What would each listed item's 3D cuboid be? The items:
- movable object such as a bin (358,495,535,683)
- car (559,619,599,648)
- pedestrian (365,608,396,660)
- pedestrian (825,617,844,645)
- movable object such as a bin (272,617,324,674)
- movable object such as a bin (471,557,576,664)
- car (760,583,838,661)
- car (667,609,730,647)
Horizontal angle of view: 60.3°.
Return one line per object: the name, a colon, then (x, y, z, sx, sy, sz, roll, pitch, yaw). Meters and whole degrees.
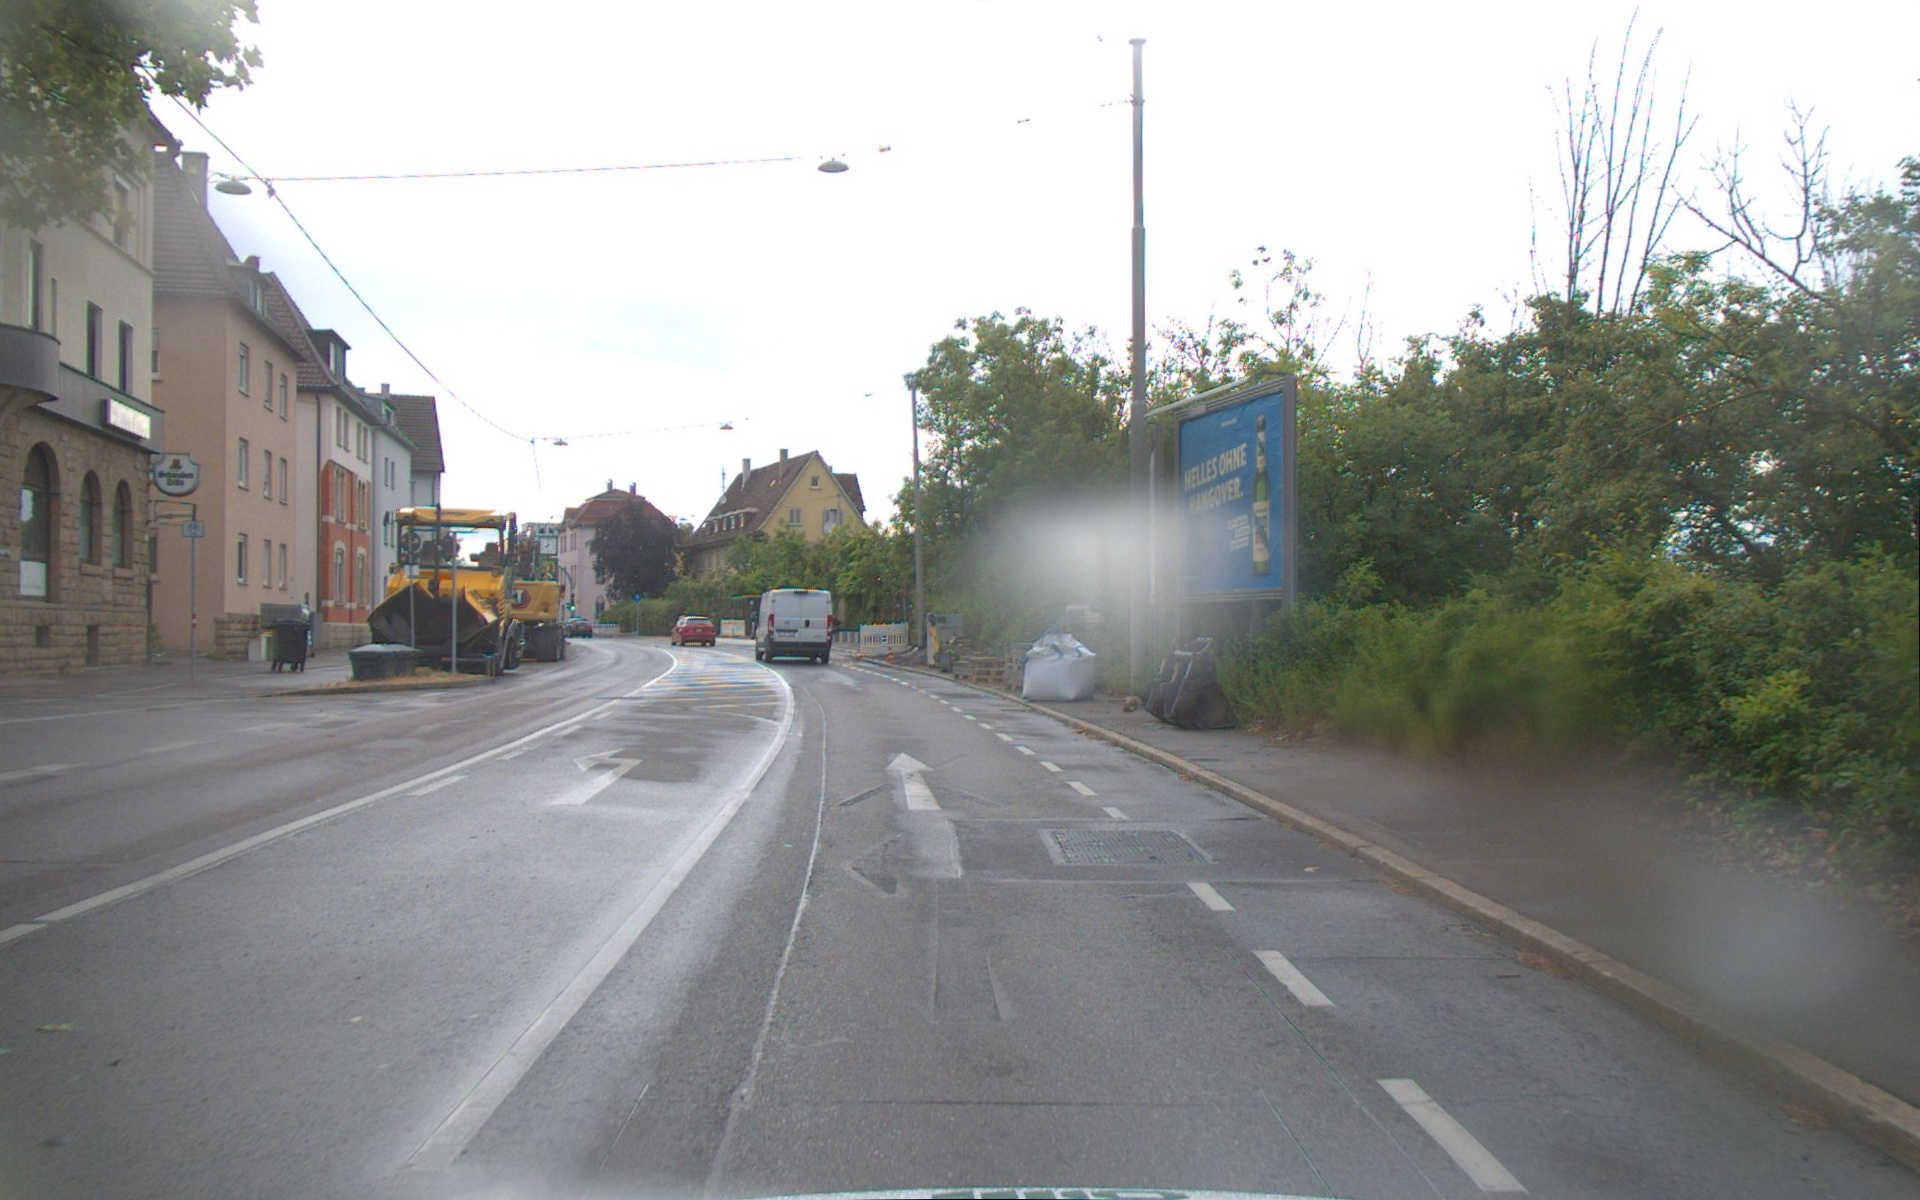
movable object such as a bin: (-11.654, -0.284, 38.070, 2.721, 3.923, 5.980, 1, 1, -6)
car: (-28.091, 2.456, 121.851, 2.206, 1.836, 4.684, 1, 1, -21)
pedestrian: (-18.796, 1.101, 53.673, 0.750, 1.616, 1.088, 1, 1, -12)
pedestrian: (-6.554, 1.632, 86.447, 0.862, 1.391, 1.063, 1, 1, -8)
movable object such as a bin: (-15.514, 1.056, 38.729, 0.883, 1.243, 1.190, 1, 1, -34)
movable object such as a bin: (-13.875, 0.275, 52.862, 2.819, 3.228, 4.116, 1, 1, -10)
car: (-5.196, 0.651, 52.743, 2.196, 2.251, 4.705, 1, 1, -8)
car: (-13.052, 1.370, 82.451, 2.205, 1.685, 4.685, 1, 1, -20)
